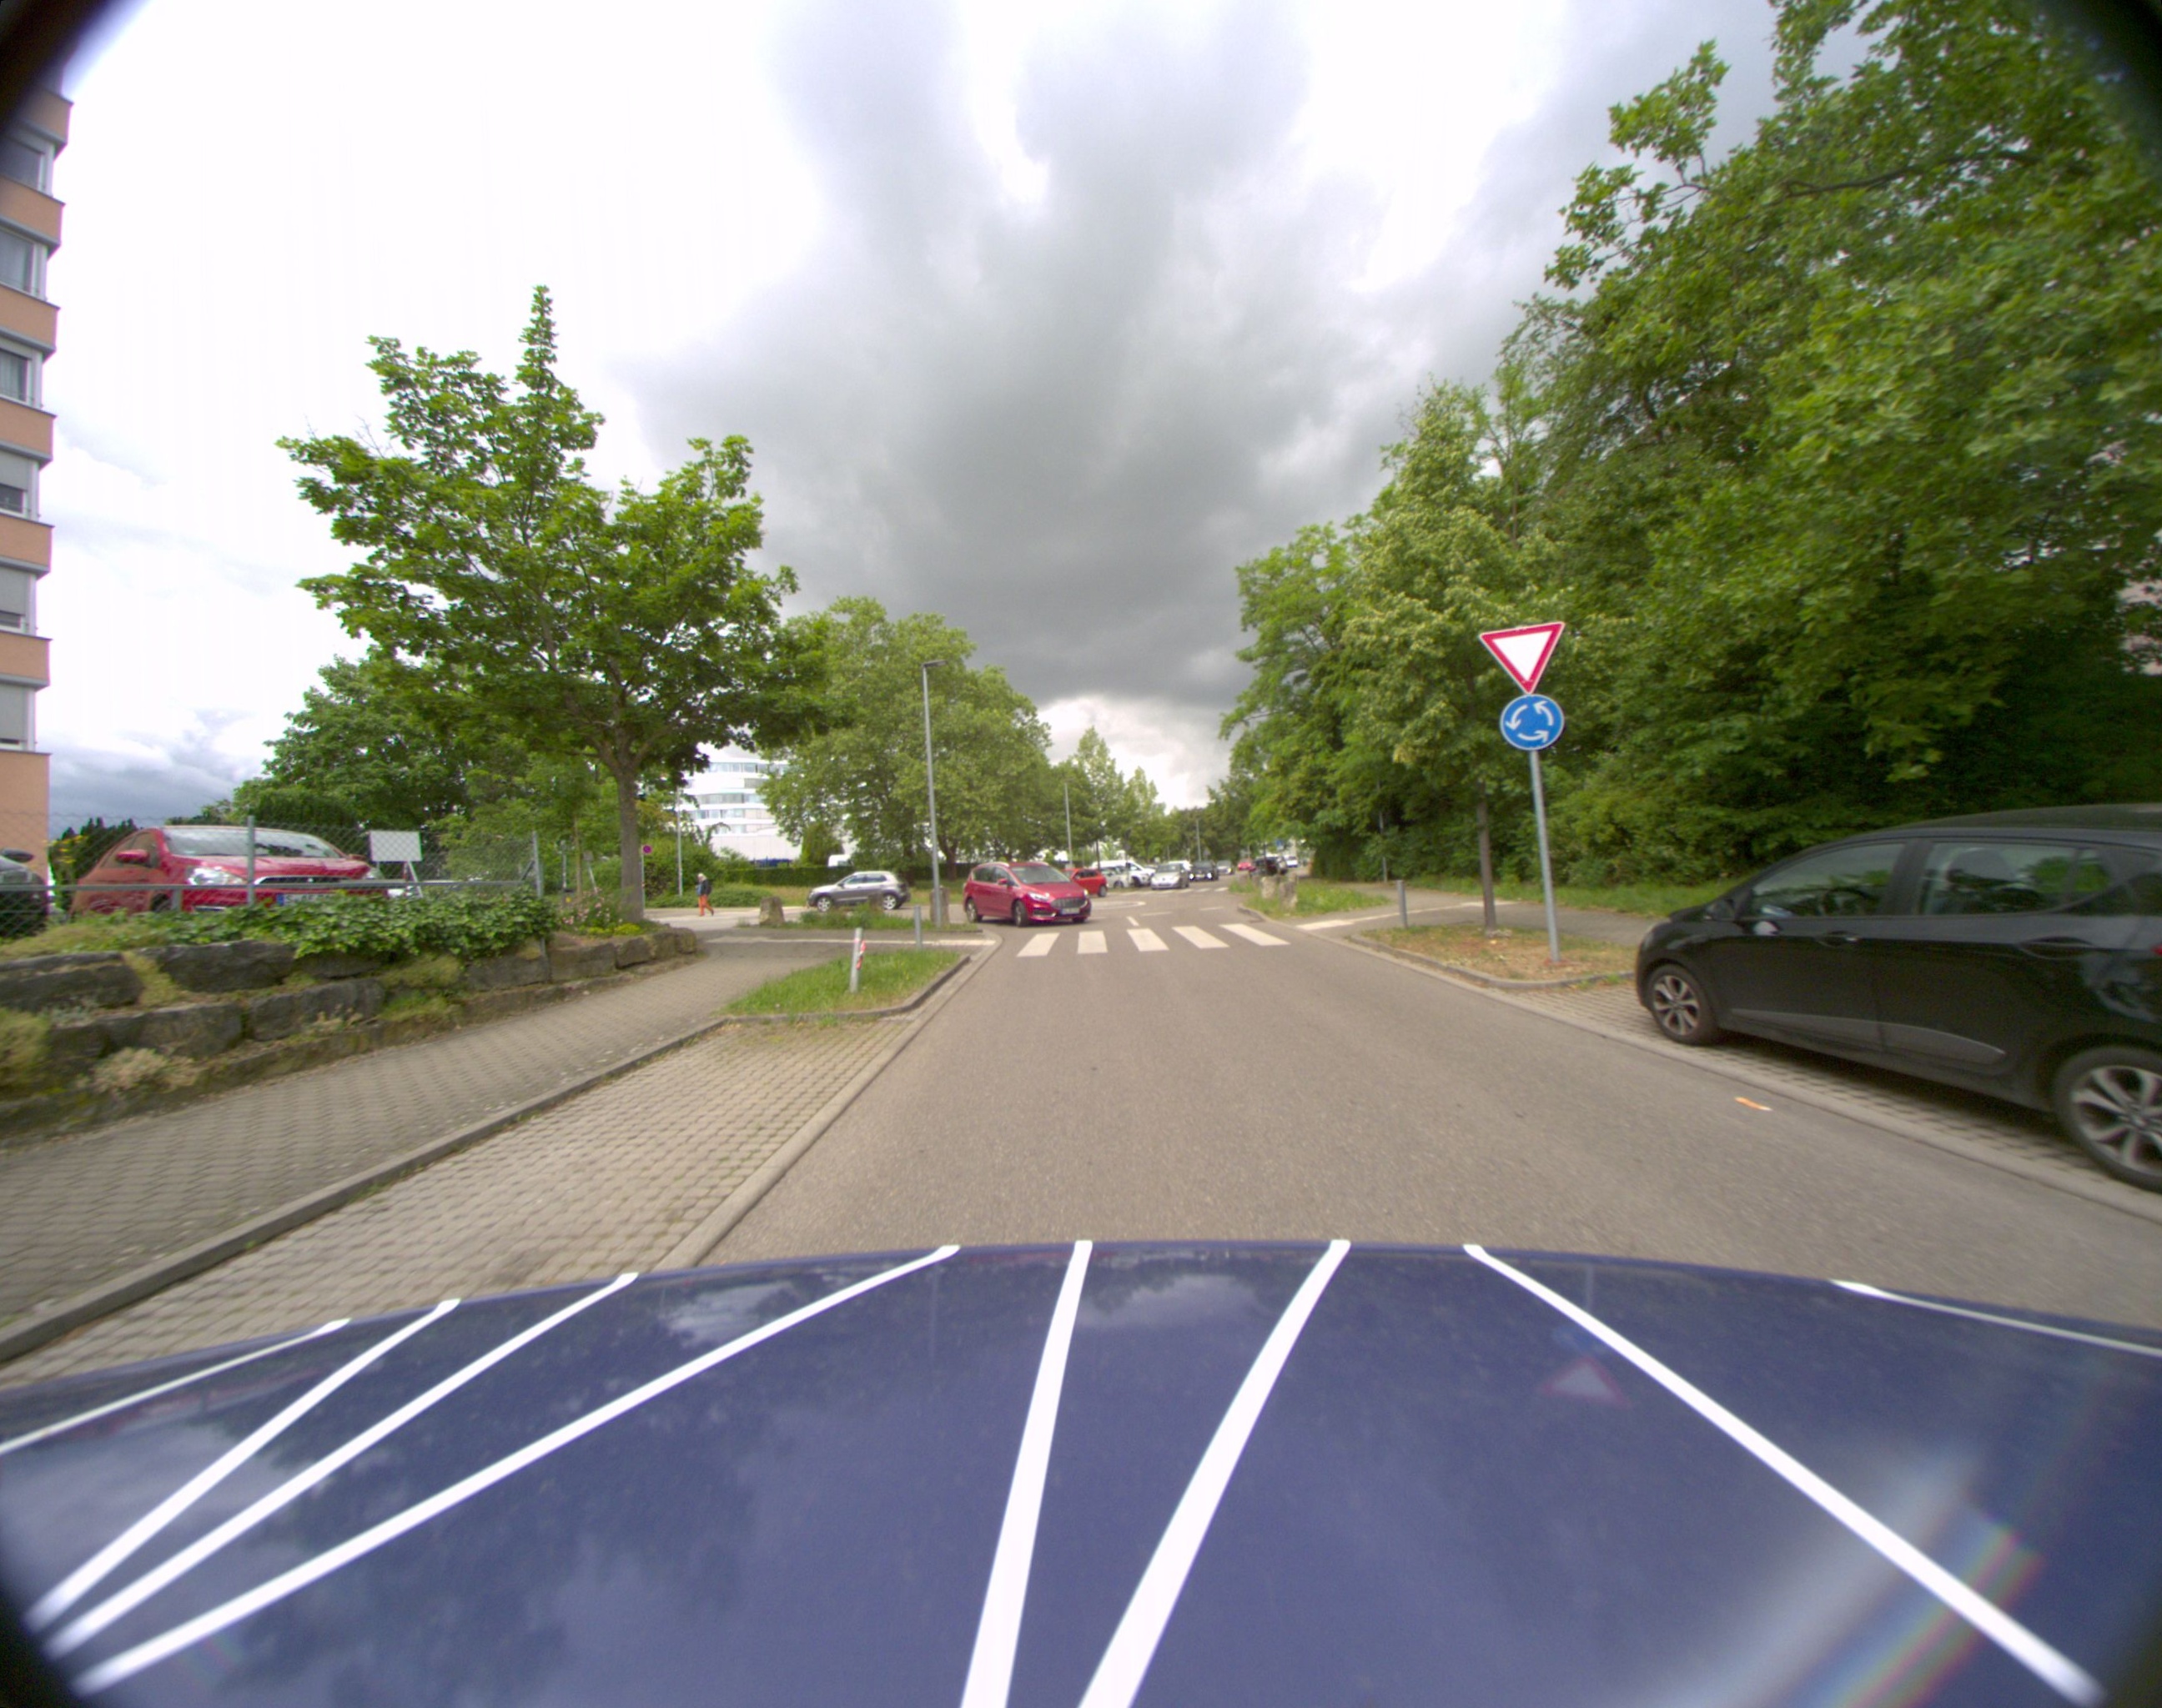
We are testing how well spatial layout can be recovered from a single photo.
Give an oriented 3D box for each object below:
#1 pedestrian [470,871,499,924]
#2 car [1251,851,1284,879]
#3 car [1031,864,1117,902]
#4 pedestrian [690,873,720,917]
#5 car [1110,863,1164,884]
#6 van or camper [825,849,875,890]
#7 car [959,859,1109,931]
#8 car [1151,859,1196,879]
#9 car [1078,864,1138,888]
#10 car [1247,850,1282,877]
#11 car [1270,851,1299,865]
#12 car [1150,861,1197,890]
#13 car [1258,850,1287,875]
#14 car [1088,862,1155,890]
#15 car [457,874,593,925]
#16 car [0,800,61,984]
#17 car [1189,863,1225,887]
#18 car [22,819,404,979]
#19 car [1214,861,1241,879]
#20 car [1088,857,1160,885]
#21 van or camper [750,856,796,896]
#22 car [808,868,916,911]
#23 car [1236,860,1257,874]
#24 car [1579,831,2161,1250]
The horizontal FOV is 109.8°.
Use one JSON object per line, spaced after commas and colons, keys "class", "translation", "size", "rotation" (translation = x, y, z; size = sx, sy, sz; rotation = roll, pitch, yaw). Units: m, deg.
{"class": "pedestrian", "translation": [-20.782, 1.513, 26.469], "size": [0.582, 1.801, 0.485], "rotation": [-5, -1, 25]}
{"class": "car", "translation": [13.121, 0.746, 53.265], "size": [1.802, 1.605, 4.483], "rotation": [-7, -1, 17]}
{"class": "car", "translation": [-0.264, 1.327, 35.825], "size": [1.756, 1.506, 4.008], "rotation": [-5, -2, 40]}
{"class": "pedestrian", "translation": [-14.494, 1.566, 29.306], "size": [0.839, 1.655, 0.615], "rotation": [1, 1, 17]}
{"class": "car", "translation": [4.371, 1.493, 59.116], "size": [3.829, 1.511, 1.914], "rotation": [-2, 0, 16]}
{"class": "van or camper", "translation": [-17.590, 1.204, 57.694], "size": [2.118, 2.781, 4.470], "rotation": [-3, -2, -36]}
{"class": "car", "translation": [-1.388, 1.035, 20.239], "size": [1.983, 1.635, 4.526], "rotation": [-2, -1, -32]}
{"class": "car", "translation": [8.471, 1.359, 69.522], "size": [3.674, 1.637, 1.854], "rotation": [-3, -1, 19]}
{"class": "car", "translation": [1.734, 1.418, 49.028], "size": [3.516, 1.452, 1.741], "rotation": [-2, -1, 17]}
{"class": "car", "translation": [11.618, 0.575, 47.962], "size": [1.692, 1.456, 4.462], "rotation": [-7, -2, 17]}
{"class": "car", "translation": [27.395, 0.509, 102.237], "size": [1.674, 1.630, 3.995], "rotation": [-4, -2, -20]}
{"class": "car", "translation": [5.647, 1.276, 46.146], "size": [1.756, 1.506, 4.006], "rotation": [-5, -2, 22]}
{"class": "car", "translation": [14.842, 0.662, 58.689], "size": [1.810, 1.654, 4.443], "rotation": [-7, -3, 17]}
{"class": "car", "translation": [2.737, 1.457, 51.160], "size": [4.157, 1.592, 1.741], "rotation": [-5, -2, 16]}
{"class": "car", "translation": [-20.676, 1.650, 28.408], "size": [1.569, 1.649, 3.783], "rotation": [-2, -1, 24]}
{"class": "car", "translation": [-10.262, 0.437, 6.022], "size": [3.792, 1.413, 1.687], "rotation": [-5, -2, 22]}
{"class": "car", "translation": [9.682, 1.605, 58.162], "size": [1.756, 1.606, 4.006], "rotation": [-5, -2, 22]}
{"class": "car", "translation": [-9.694, 0.533, 8.496], "size": [3.654, 1.430, 1.687], "rotation": [-5, -2, 22]}
{"class": "car", "translation": [14.532, 1.591, 75.165], "size": [1.756, 1.606, 4.006], "rotation": [-5, -2, 22]}
{"class": "car", "translation": [3.072, 1.178, 53.817], "size": [4.780, 1.821, 1.845], "rotation": [-2, 0, 16]}
{"class": "van or camper", "translation": [-23.467, 1.710, 57.805], "size": [2.118, 2.781, 4.470], "rotation": [-3, -2, -36]}
{"class": "car", "translation": [-8.970, 1.432, 31.365], "size": [4.009, 1.608, 1.721], "rotation": [-2, 0, -6]}
{"class": "car", "translation": [20.433, 1.572, 93.534], "size": [1.756, 1.606, 4.006], "rotation": [-5, -2, 22]}
{"class": "car", "translation": [4.945, 0.670, 4.317], "size": [1.790, 1.459, 4.002], "rotation": [-4, -1, 5]}
